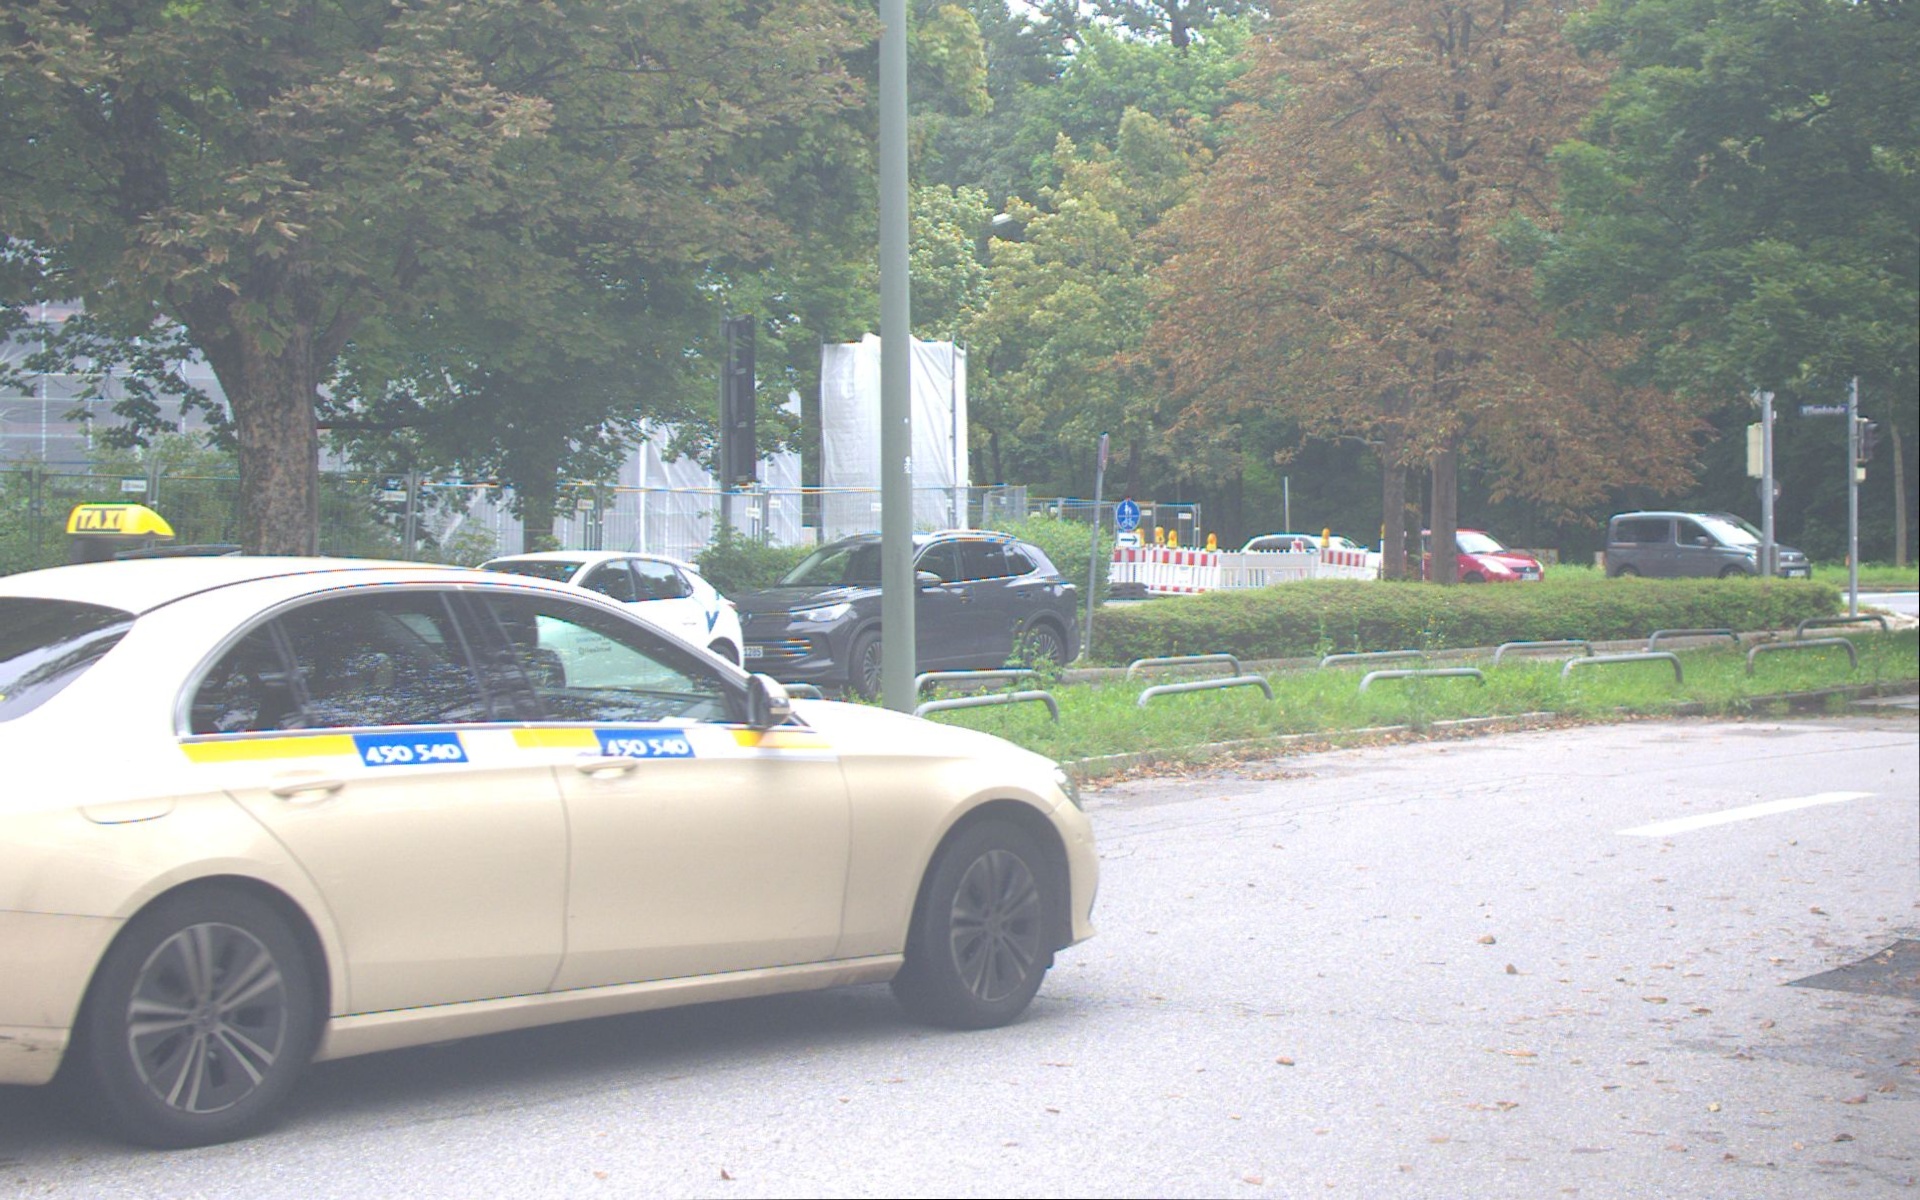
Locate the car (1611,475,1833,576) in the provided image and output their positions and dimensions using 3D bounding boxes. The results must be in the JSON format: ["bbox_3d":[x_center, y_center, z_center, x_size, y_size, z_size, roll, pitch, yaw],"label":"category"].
[{"bbox_3d":[15.536,-1.516,70.210,1.995,2.007,3.998,-1,1,-43],"label":"car"}]

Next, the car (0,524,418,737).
[{"bbox_3d":[-6.017,0.187,25.723,1.837,1.456,4.000,0,1,28],"label":"car"}]

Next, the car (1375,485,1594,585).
[{"bbox_3d":[10.860,-1.351,71.358,1.995,2.007,4.155,-1,1,-43],"label":"car"}]

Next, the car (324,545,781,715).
[{"bbox_3d":[-3.487,0.218,30.157,1.799,1.379,4.211,0,1,30],"label":"car"}]

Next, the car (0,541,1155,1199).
[{"bbox_3d":[-1.719,0.601,9.860,1.892,1.540,4.841,1,1,43],"label":"car"}]

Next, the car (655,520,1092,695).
[{"bbox_3d":[-0.775,0.103,33.716,1.890,1.601,4.386,0,-1,39],"label":"car"}]
